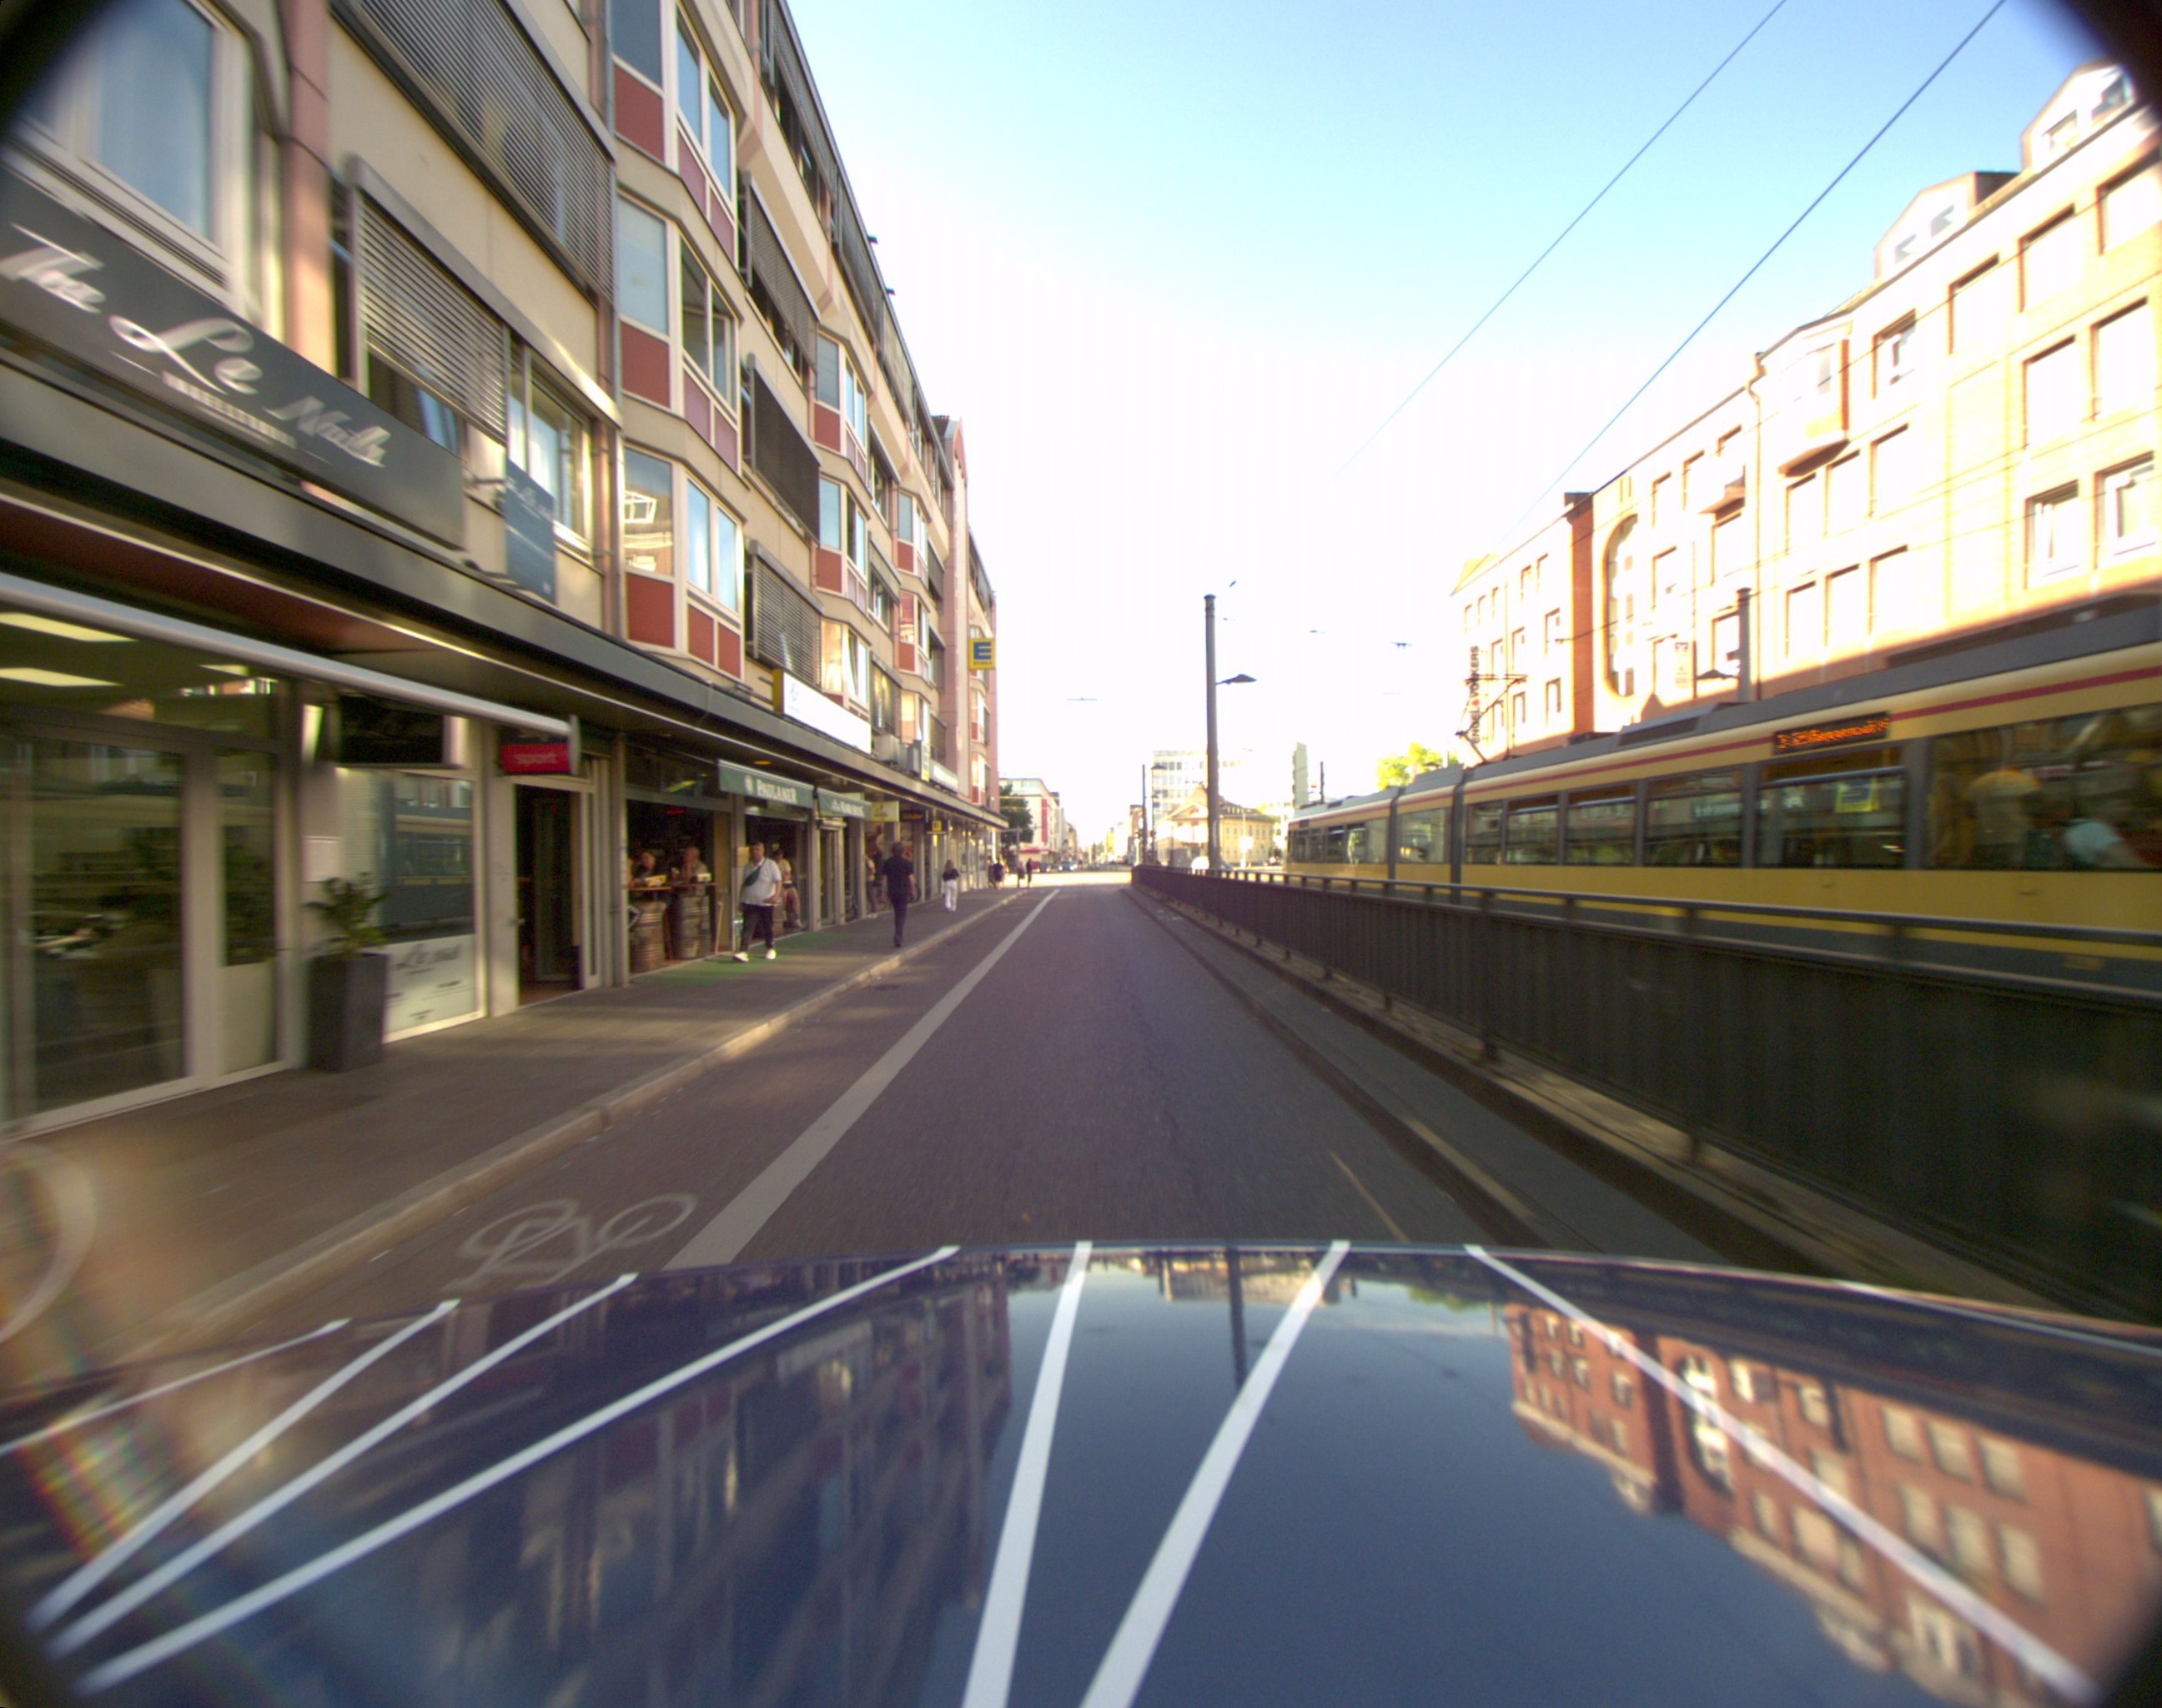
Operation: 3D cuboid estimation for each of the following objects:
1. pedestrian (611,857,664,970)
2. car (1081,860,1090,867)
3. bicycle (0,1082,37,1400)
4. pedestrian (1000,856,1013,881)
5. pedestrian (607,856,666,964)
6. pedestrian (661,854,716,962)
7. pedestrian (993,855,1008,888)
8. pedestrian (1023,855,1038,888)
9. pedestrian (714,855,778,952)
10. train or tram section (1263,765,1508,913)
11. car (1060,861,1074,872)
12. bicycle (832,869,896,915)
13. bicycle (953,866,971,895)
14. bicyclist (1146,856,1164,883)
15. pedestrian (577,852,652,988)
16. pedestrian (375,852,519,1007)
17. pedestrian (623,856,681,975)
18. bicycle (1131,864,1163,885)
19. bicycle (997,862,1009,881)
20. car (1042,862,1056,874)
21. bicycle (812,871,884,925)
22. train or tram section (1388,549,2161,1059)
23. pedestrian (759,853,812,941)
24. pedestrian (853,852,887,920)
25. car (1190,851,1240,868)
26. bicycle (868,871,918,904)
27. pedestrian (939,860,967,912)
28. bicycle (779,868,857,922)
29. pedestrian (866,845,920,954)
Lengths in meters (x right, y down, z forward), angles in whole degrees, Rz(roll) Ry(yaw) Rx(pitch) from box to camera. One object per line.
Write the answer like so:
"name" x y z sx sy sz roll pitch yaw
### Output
"pedestrian" -6.400 0.847 10.978 0.457 1.594 0.464 -1 1 3
"car" 0.927 1.904 153.033 1.730 1.337 3.484 -2 0 -2
"bicycle" -3.565 1.237 1.602 0.303 0.984 1.760 0 0 0
"pedestrian" -4.918 0.944 50.113 0.655 1.598 0.595 -3 1 -13
"pedestrian" -6.767 0.836 11.590 0.521 1.597 0.542 -1 1 6
"pedestrian" -6.064 0.815 11.751 0.517 1.623 0.522 -1 1 5
"pedestrian" -3.957 0.841 37.409 0.709 1.604 0.495 0 2 0
"pedestrian" -2.925 1.013 43.994 0.680 1.832 0.606 -3 1 -12
"pedestrian" -5.931 0.855 13.493 0.774 1.665 0.696 -2 1 1
"train or tram section" 9.429 -0.401 26.336 2.981 3.623 13.943 -3 0 1
"car" -2.026 1.773 108.934 1.771 1.458 3.812 -1 0 -2
"bicycle" -6.337 1.079 22.282 0.555 1.229 2.087 -1 0 24
"bicycle" -4.727 1.047 30.239 0.516 1.121 1.406 -1 0 0
"bicyclist" 3.855 0.783 39.487 0.750 1.372 0.901 -1 0 -5
"pedestrian" -5.912 0.813 9.650 0.580 1.673 0.553 -1 1 -1
"pedestrian" -6.554 0.746 7.907 0.711 1.510 0.901 -1 0 0
"pedestrian" -5.906 0.829 10.473 0.457 1.594 0.530 -1 1 1
"bicycle" 3.450 1.068 39.556 1.592 1.027 0.418 -1 1 -5
"bicycle" -5.094 1.108 49.695 0.430 1.206 1.822 -3 0 -14
"car" -4.399 1.882 104.207 1.771 1.458 3.812 -1 0 -2
"bicycle" -5.883 1.082 19.319 0.470 1.244 2.087 -1 0 24
"train or tram section" 9.263 -0.363 11.110 2.981 3.623 16.486 -3 0 1
"pedestrian" -5.627 0.806 14.503 0.728 1.626 0.639 1 1 2
"pedestrian" -5.354 0.802 19.273 0.789 1.711 0.591 0 -1 -18
"car" 12.142 0.532 69.025 2.004 1.496 3.989 -1 0 -44
"bicycle" -6.273 1.109 25.393 1.513 1.035 0.434 -1 -1 -2
"pedestrian" -3.792 0.943 22.549 0.667 1.512 0.789 1 0 -3
"bicycle" -6.834 1.047 19.856 0.575 1.246 2.119 -2 0 24
"pedestrian" -3.325 0.782 13.519 0.676 1.850 0.992 1 1 2
